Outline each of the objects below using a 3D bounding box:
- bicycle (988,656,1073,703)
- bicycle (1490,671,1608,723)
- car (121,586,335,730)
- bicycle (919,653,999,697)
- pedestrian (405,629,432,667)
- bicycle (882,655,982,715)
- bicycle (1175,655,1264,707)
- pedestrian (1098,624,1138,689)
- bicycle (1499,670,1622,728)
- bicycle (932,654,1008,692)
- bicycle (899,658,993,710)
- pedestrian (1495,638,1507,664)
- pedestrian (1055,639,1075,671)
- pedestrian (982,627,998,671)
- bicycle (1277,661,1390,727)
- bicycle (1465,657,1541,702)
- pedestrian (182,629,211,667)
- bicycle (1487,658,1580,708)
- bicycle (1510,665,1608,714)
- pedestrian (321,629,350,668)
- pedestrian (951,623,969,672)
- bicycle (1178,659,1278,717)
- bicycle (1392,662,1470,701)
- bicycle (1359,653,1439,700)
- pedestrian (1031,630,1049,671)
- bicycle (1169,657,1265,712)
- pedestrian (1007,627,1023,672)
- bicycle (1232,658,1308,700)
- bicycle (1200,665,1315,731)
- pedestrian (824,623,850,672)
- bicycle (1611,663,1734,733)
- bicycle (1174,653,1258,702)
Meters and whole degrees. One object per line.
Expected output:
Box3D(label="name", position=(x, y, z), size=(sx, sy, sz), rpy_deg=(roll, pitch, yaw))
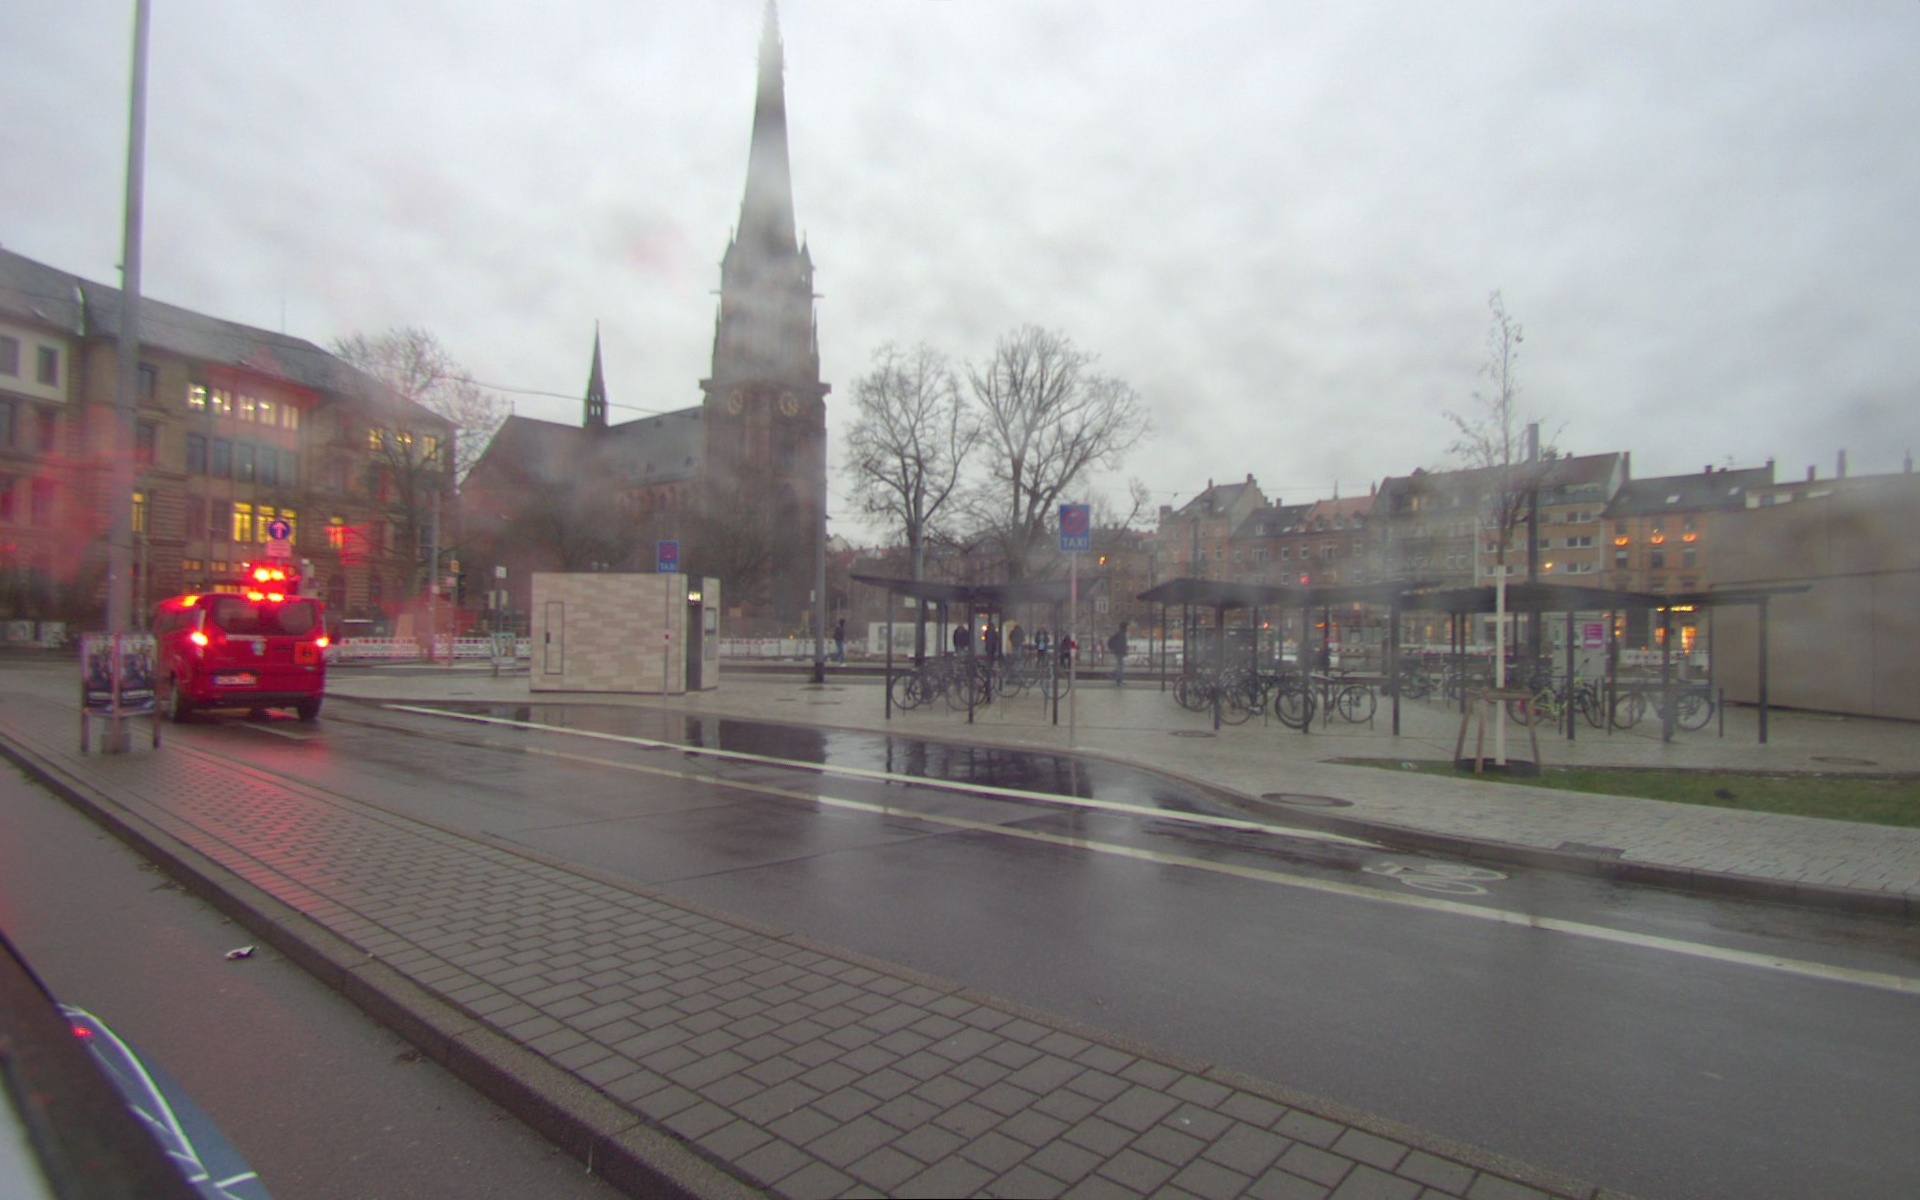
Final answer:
Box3D(label="bicycle", position=(1.635, 1.828, 23.418), size=(1.905, 0.993, 0.473), rpy_deg=(1, -1, 11))
Box3D(label="bicycle", position=(11.363, 1.870, 19.566), size=(1.905, 0.898, 0.473), rpy_deg=(1, -1, 11))
Box3D(label="car", position=(-12.384, 0.931, 17.006), size=(4.642, 2.086, 1.903), rpy_deg=(-2, -4, 42))
Box3D(label="bicycle", position=(-0.019, 1.835, 24.863), size=(1.905, 0.993, 0.473), rpy_deg=(1, -1, 11))
Box3D(label="pedestrian", position=(-24.893, 2.191, 46.504), size=(1.208, 1.673, 0.762), rpy_deg=(-1, 0, 44))
Box3D(label="bicycle", position=(-0.542, 1.660, 19.861), size=(1.905, 1.078, 0.473), rpy_deg=(1, -1, 11))
Box3D(label="bicycle", position=(5.845, 1.816, 22.844), size=(1.905, 1.078, 0.473), rpy_deg=(1, -1, 11))
Box3D(label="pedestrian", position=(4.406, 1.564, 28.184), size=(1.056, 1.778, 1.008), rpy_deg=(0, -3, 10))
Box3D(label="bicycle", position=(11.122, 1.822, 18.779), size=(1.905, 0.983, 0.473), rpy_deg=(1, -1, 11))
Box3D(label="bicycle", position=(0.266, 1.875, 26.115), size=(1.905, 0.917, 0.473), rpy_deg=(1, -1, 11))
Box3D(label="bicycle", position=(-0.291, 1.740, 21.099), size=(1.905, 0.993, 0.473), rpy_deg=(1, -1, 11))
Box3D(label="pedestrian", position=(43.846, 4.128, 82.021), size=(0.579, 2.029, 0.707), rpy_deg=(3, -4, -40))
Box3D(label="pedestrian", position=(3.976, 2.080, 38.318), size=(0.610, 1.165, 0.806), rpy_deg=(-1, 0, -1))
Box3D(label="pedestrian", position=(1.144, 1.867, 38.646), size=(0.556, 1.664, 0.540), rpy_deg=(-1, 0, -1))
Box3D(label="bicycle", position=(6.941, 1.742, 18.861), size=(1.905, 1.129, 0.473), rpy_deg=(1, -1, 11))
Box3D(label="bicycle", position=(13.229, 1.924, 24.659), size=(1.551, 1.044, 0.521), rpy_deg=(1, -1, 1))
Box3D(label="pedestrian", position=(-38.117, 2.388, 50.539), size=(0.885, 1.830, 0.674), rpy_deg=(1, -2, -1))
Box3D(label="bicycle", position=(13.249, 1.917, 23.412), size=(1.810, 1.081, 0.474), rpy_deg=(1, -1, 8))
Box3D(label="bicycle", position=(12.896, 1.927, 21.825), size=(1.751, 0.963, 0.473), rpy_deg=(1, -1, 11))
Box3D(label="pedestrian", position=(-30.819, 2.395, 49.937), size=(0.966, 1.915, 0.670), rpy_deg=(0, -3, 19))
Box3D(label="pedestrian", position=(0.000, 1.810, 38.573), size=(0.619, 1.808, 0.672), rpy_deg=(-1, 0, -1))
Box3D(label="bicycle", position=(5.440, 1.782, 20.612), size=(1.905, 1.078, 0.473), rpy_deg=(1, -1, 11))
Box3D(label="bicycle", position=(11.617, 1.999, 24.986), size=(1.672, 0.898, 0.474), rpy_deg=(1, -1, 5))
Box3D(label="bicycle", position=(11.180, 1.933, 25.797), size=(1.780, 1.116, 0.473), rpy_deg=(1, -1, 11))
Box3D(label="pedestrian", position=(3.029, 1.919, 38.326), size=(0.580, 1.513, 0.675), rpy_deg=(-1, 0, -1))
Box3D(label="bicycle", position=(5.427, 1.780, 21.395), size=(1.899, 1.078, 0.474), rpy_deg=(1, -1, 2))
Box3D(label="pedestrian", position=(2.063, 1.863, 38.108), size=(0.543, 1.648, 0.571), rpy_deg=(-1, 0, -1))
Box3D(label="bicycle", position=(7.658, 1.949, 25.065), size=(1.729, 0.946, 0.474), rpy_deg=(1, -1, 7))
Box3D(label="bicycle", position=(5.252, 1.727, 17.951), size=(1.905, 1.078, 0.473), rpy_deg=(1, -1, 11))
Box3D(label="pedestrian", position=(-4.659, 1.782, 38.278), size=(0.817, 1.808, 0.669), rpy_deg=(-1, 0, 7))
Box3D(label="bicycle", position=(12.685, 1.732, 18.040), size=(1.731, 1.165, 0.617), rpy_deg=(1, -1, 1))
Box3D(label="bicycle", position=(6.060, 1.836, 24.034), size=(1.905, 1.078, 0.473), rpy_deg=(1, -1, 11))
